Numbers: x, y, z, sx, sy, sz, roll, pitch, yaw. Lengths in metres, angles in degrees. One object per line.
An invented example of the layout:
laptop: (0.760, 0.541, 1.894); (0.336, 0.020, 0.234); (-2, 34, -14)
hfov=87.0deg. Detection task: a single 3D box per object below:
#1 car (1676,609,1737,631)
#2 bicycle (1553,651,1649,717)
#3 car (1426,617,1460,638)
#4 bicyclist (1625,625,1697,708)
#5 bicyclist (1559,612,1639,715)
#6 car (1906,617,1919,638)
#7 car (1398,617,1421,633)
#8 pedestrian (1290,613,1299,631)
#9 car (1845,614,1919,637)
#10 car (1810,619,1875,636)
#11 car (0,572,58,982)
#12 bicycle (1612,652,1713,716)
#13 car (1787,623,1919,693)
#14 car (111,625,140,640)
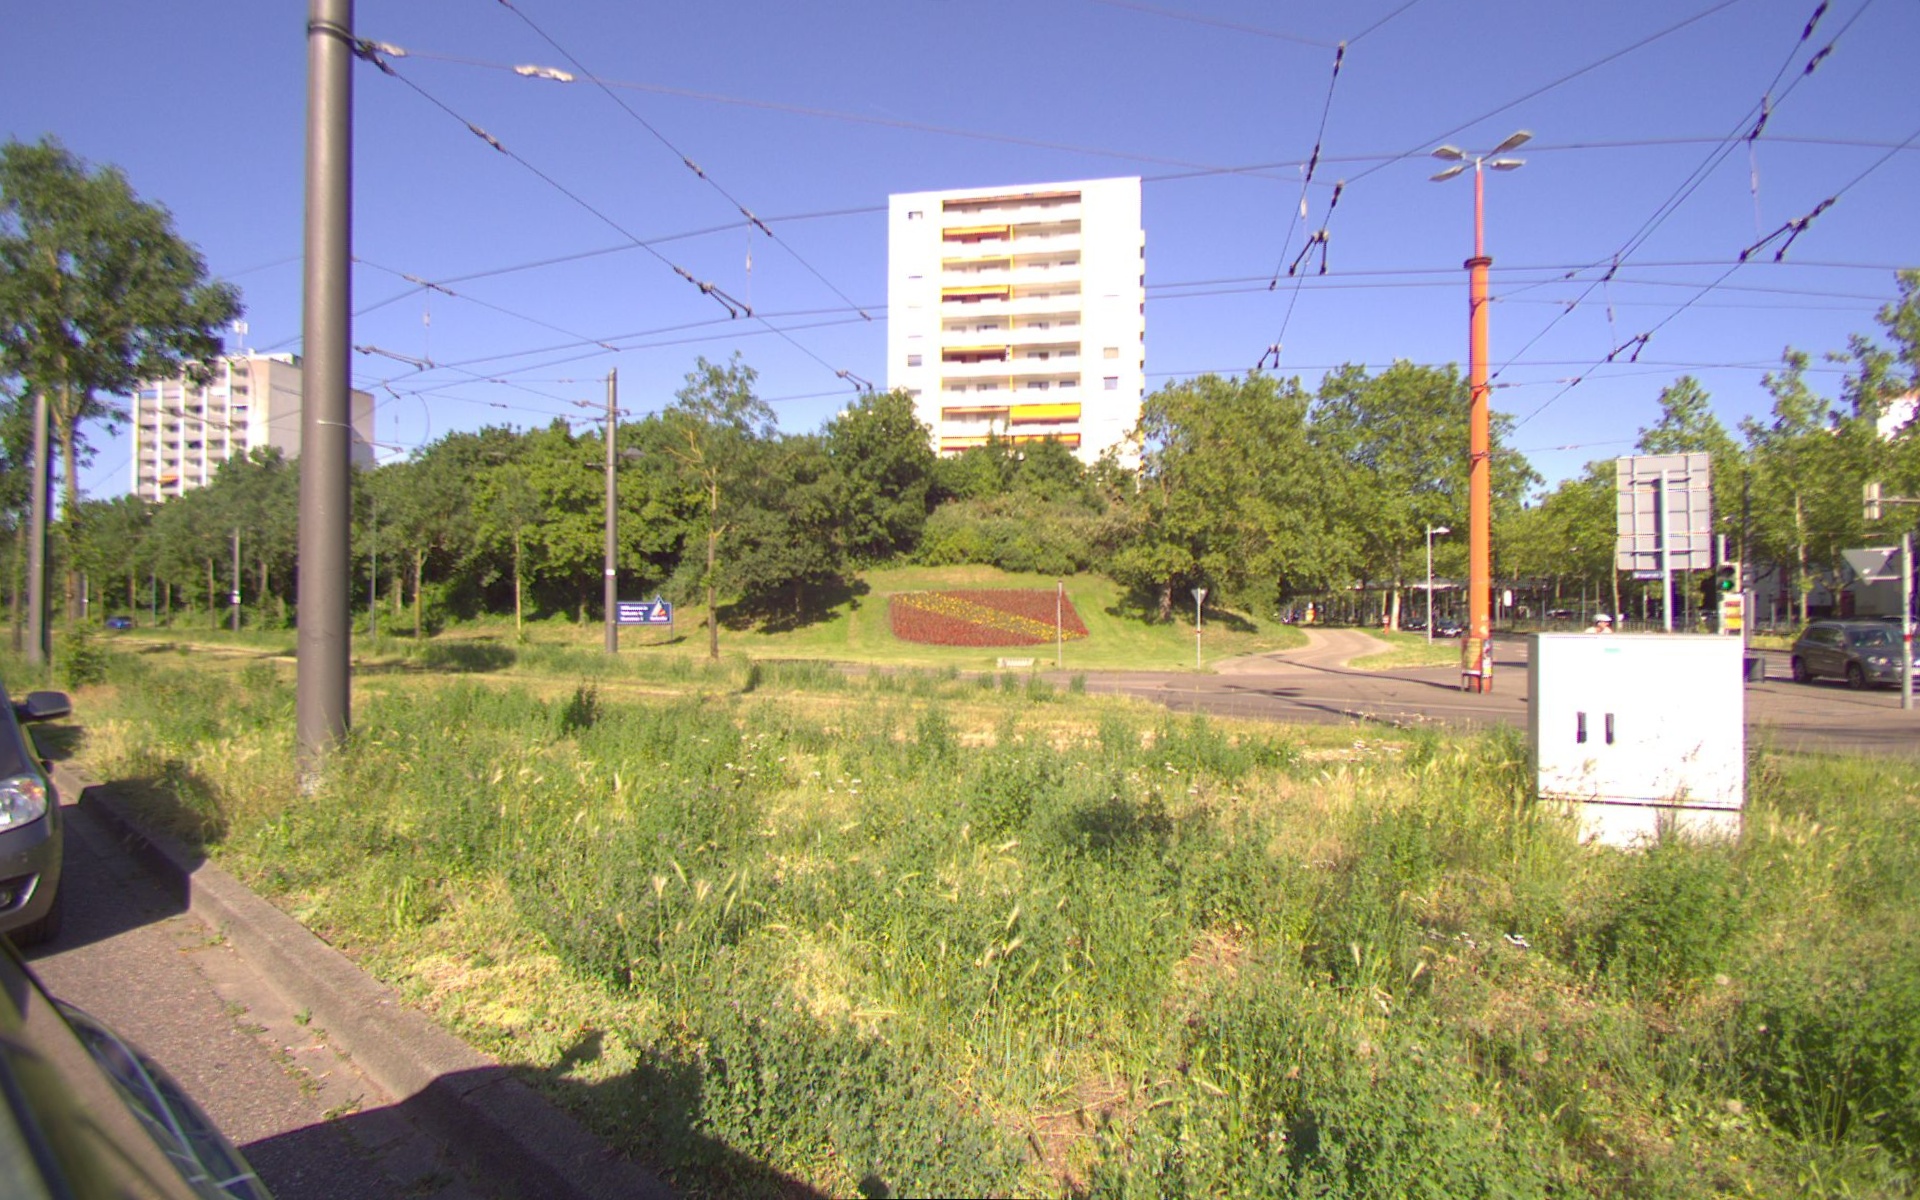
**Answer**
car: (72.131, 1.938, 97.870); (1.909, 1.999, 4.350); (1, -2, -38)
bicycle: (12.068, 1.549, 19.115); (0.571, 1.079, 1.916); (-1, 0, 0)
car: (35.893, 2.005, 75.274); (1.905, 1.507, 3.971); (-1, -1, 21)
bicyclist: (13.484, 1.266, 19.496); (0.710, 1.536, 0.924); (-1, 0, 0)
bicyclist: (12.049, 1.176, 19.112); (0.880, 1.881, 0.924); (-1, 0, -1)
car: (63.677, 1.775, 65.159); (1.472, 1.341, 3.746); (-1, 0, -27)
car: (45.878, 2.506, 103.339); (1.905, 1.507, 3.972); (-1, 0, 21)
pedestrian: (28.655, 1.899, 86.714); (0.681, 1.568, 0.985); (-1, -2, 20)
car: (63.792, 1.742, 69.992); (1.589, 1.471, 3.656); (-1, 0, -38)
car: (64.396, 1.987, 73.843); (1.425, 1.197, 3.423); (-1, 0, -41)
car: (-5.829, 0.754, 4.881); (3.998, 1.652, 1.726); (-1, 0, 41)
bicycle: (13.457, 1.583, 19.458); (0.571, 1.079, 1.916); (-1, 0, 0)
car: (23.010, 1.392, 25.411); (1.900, 1.507, 4.026); (-1, 0, 15)
car: (-78.849, 3.070, 95.576); (3.908, 1.431, 1.557); (-2, -1, 42)
